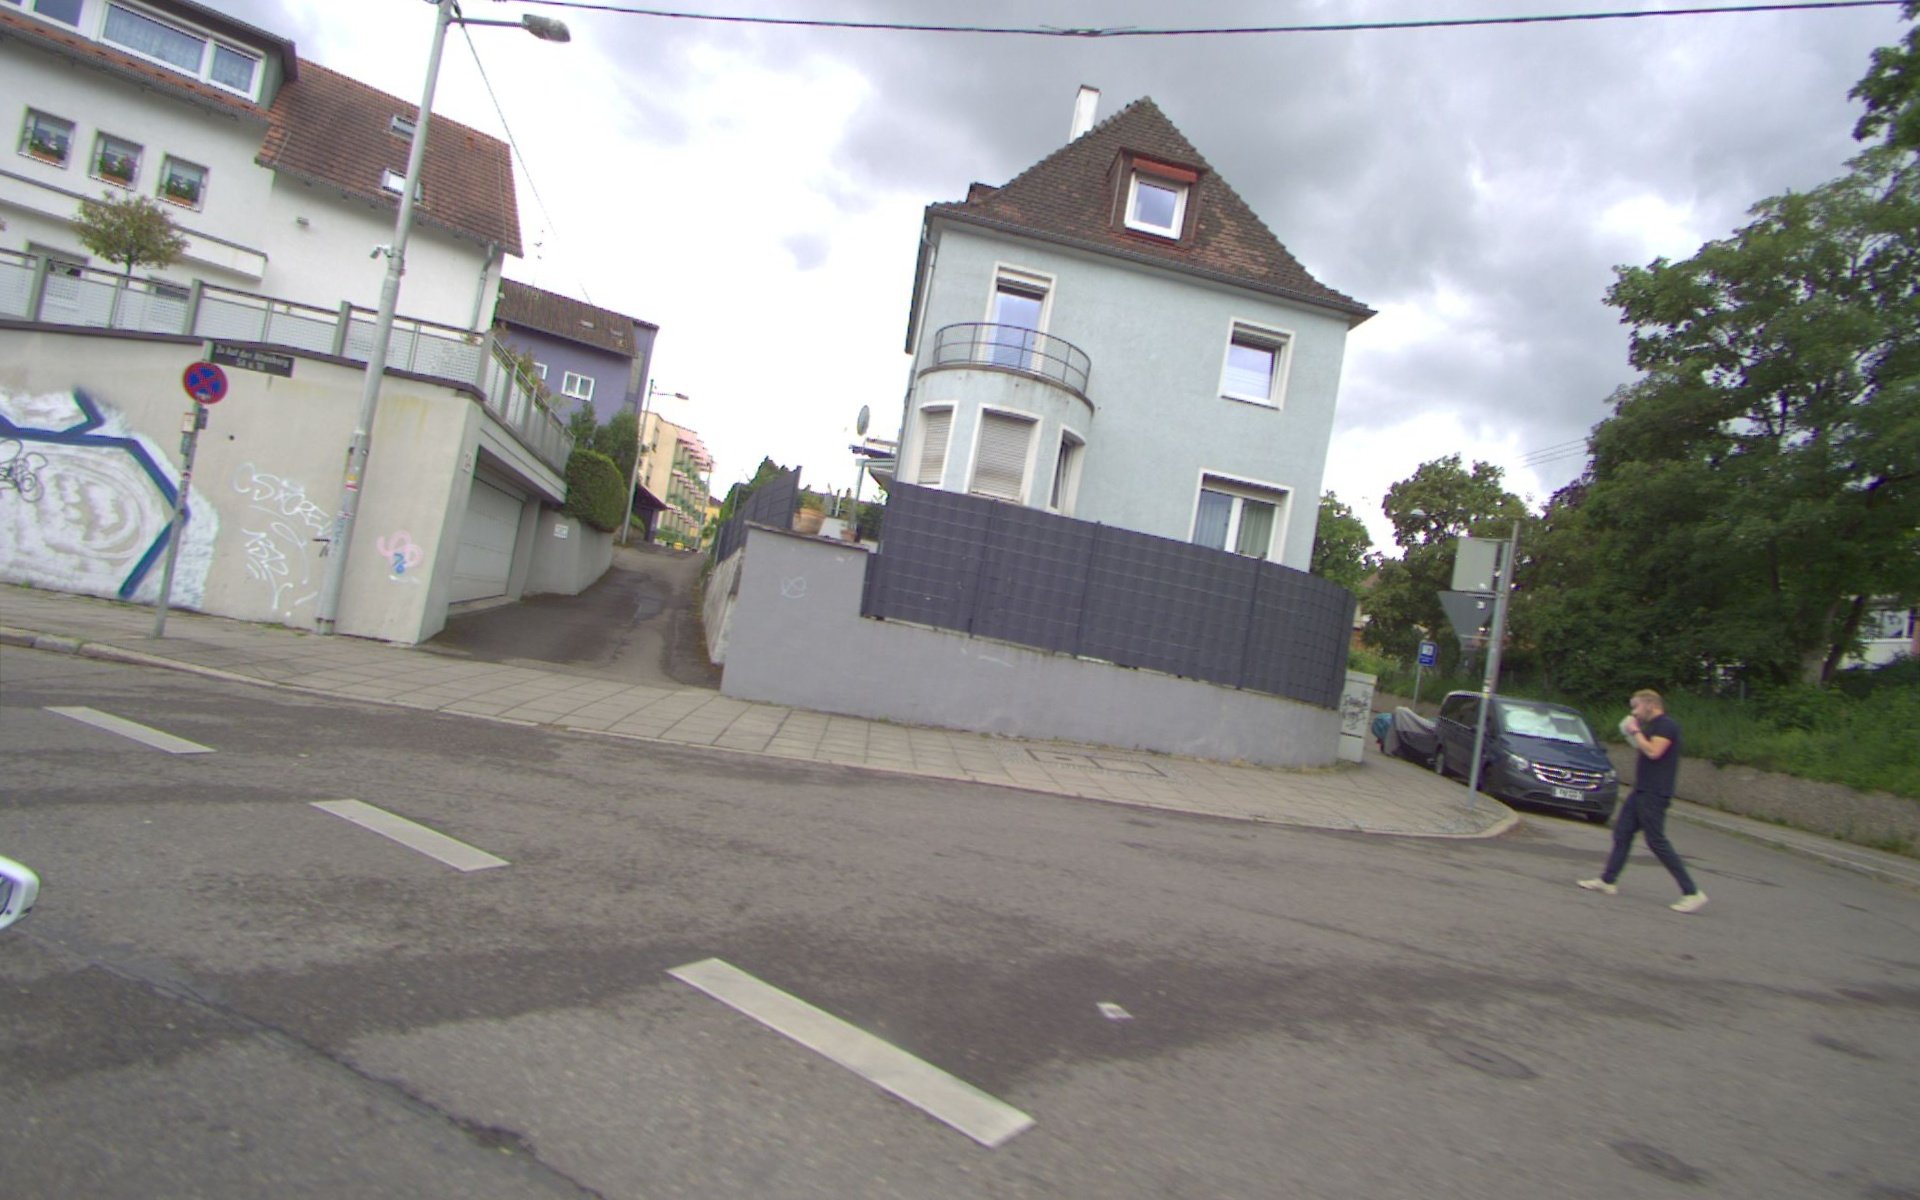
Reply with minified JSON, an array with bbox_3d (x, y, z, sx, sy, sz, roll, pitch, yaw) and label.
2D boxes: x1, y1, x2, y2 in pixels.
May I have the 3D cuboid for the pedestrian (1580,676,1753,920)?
[{"bbox_3d":[6.105,1.667,8.700,0.970,1.850,0.573,9,0,39],"label":"pedestrian"}]

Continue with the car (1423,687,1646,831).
[{"bbox_3d":[10.295,2.736,18.522,1.914,1.884,4.847,9,-2,12],"label":"car"}]

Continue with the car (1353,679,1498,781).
[{"bbox_3d":[11.188,3.044,24.587,1.914,1.884,4.847,9,-2,12],"label":"car"}]
